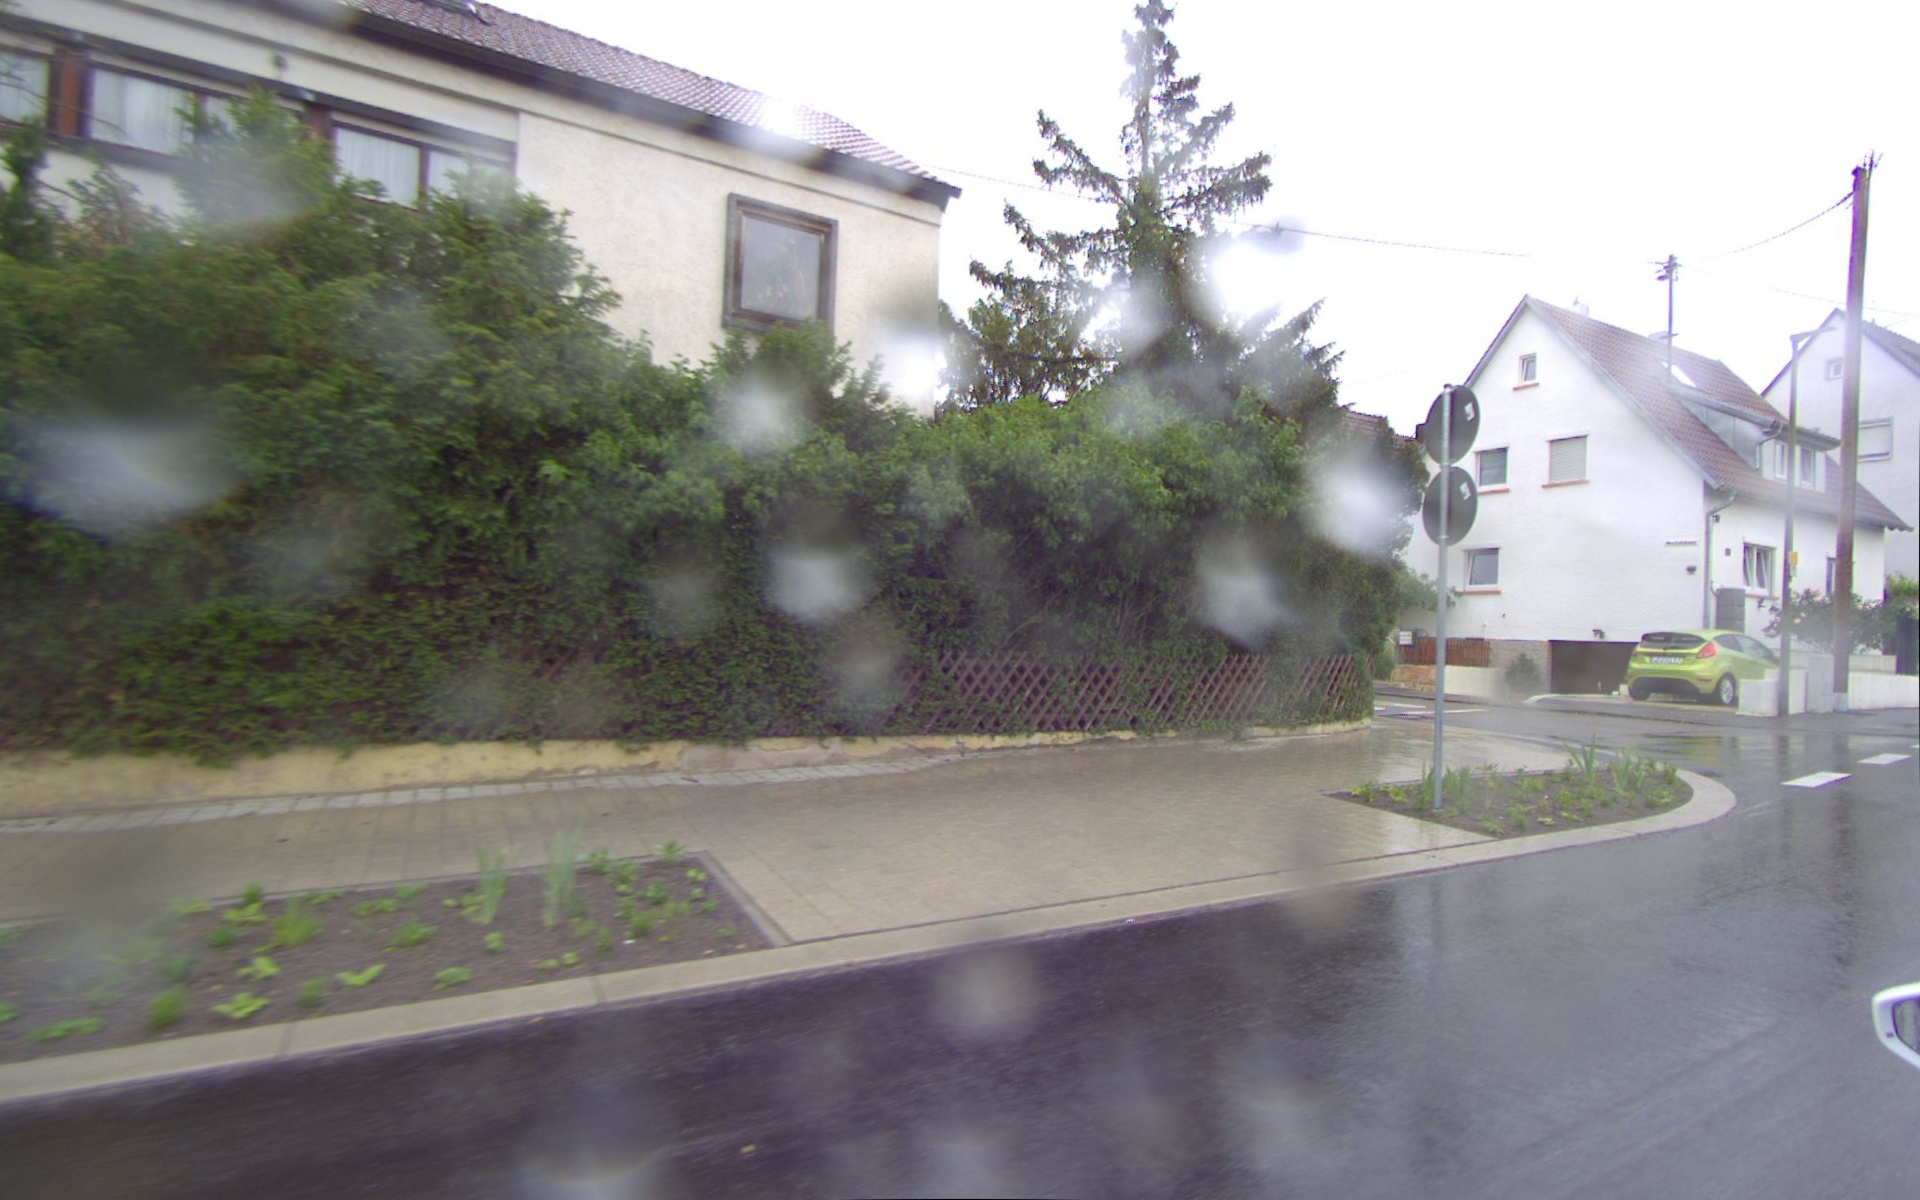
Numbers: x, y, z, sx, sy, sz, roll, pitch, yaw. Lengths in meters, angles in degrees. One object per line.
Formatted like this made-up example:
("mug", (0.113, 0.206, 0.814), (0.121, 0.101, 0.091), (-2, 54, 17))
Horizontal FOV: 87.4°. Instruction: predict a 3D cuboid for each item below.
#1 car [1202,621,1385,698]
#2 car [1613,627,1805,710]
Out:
("car", (7.431, 1.270, 22.725), (1.761, 1.486, 3.830), (1, 0, -26))
("car", (15.045, 1.377, 20.188), (3.413, 1.486, 1.772), (3, -2, -27))
